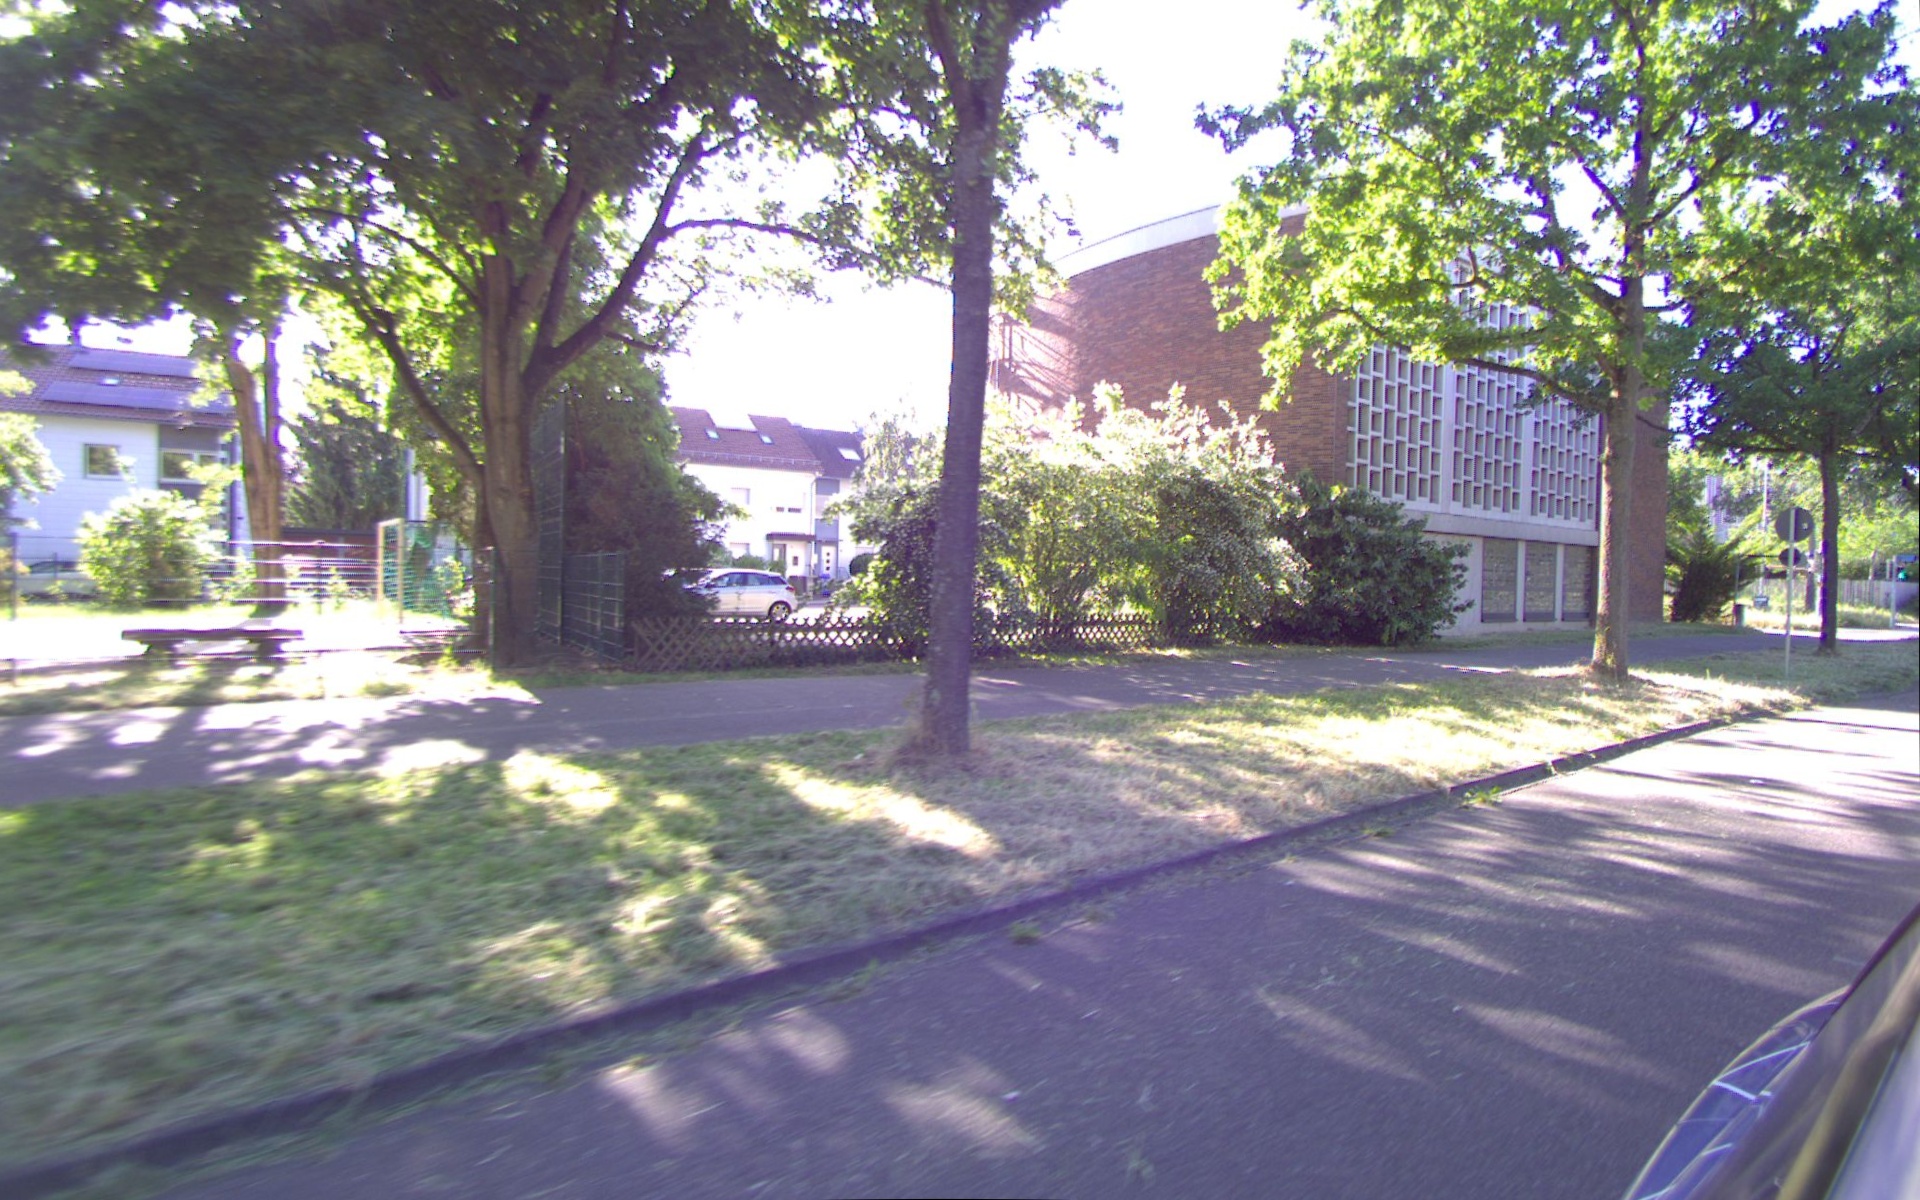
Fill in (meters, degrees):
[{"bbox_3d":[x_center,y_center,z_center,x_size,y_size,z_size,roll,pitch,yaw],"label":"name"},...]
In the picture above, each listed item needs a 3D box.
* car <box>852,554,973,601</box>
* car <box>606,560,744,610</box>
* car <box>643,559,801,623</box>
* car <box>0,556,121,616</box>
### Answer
[{"bbox_3d":[-2.168,-1.107,46.881,5.163,2.038,2.304,-1,3,-34],"label":"car"},{"bbox_3d":[-9.159,-0.529,32.516,3.920,1.482,2.003,-1,3,-30],"label":"car"},{"bbox_3d":[-6.610,-0.299,28.142,3.920,1.637,1.883,-1,3,-30],"label":"car"},{"bbox_3d":[-28.570,-0.454,31.036,3.916,1.771,1.910,-1,3,-22],"label":"car"}]
